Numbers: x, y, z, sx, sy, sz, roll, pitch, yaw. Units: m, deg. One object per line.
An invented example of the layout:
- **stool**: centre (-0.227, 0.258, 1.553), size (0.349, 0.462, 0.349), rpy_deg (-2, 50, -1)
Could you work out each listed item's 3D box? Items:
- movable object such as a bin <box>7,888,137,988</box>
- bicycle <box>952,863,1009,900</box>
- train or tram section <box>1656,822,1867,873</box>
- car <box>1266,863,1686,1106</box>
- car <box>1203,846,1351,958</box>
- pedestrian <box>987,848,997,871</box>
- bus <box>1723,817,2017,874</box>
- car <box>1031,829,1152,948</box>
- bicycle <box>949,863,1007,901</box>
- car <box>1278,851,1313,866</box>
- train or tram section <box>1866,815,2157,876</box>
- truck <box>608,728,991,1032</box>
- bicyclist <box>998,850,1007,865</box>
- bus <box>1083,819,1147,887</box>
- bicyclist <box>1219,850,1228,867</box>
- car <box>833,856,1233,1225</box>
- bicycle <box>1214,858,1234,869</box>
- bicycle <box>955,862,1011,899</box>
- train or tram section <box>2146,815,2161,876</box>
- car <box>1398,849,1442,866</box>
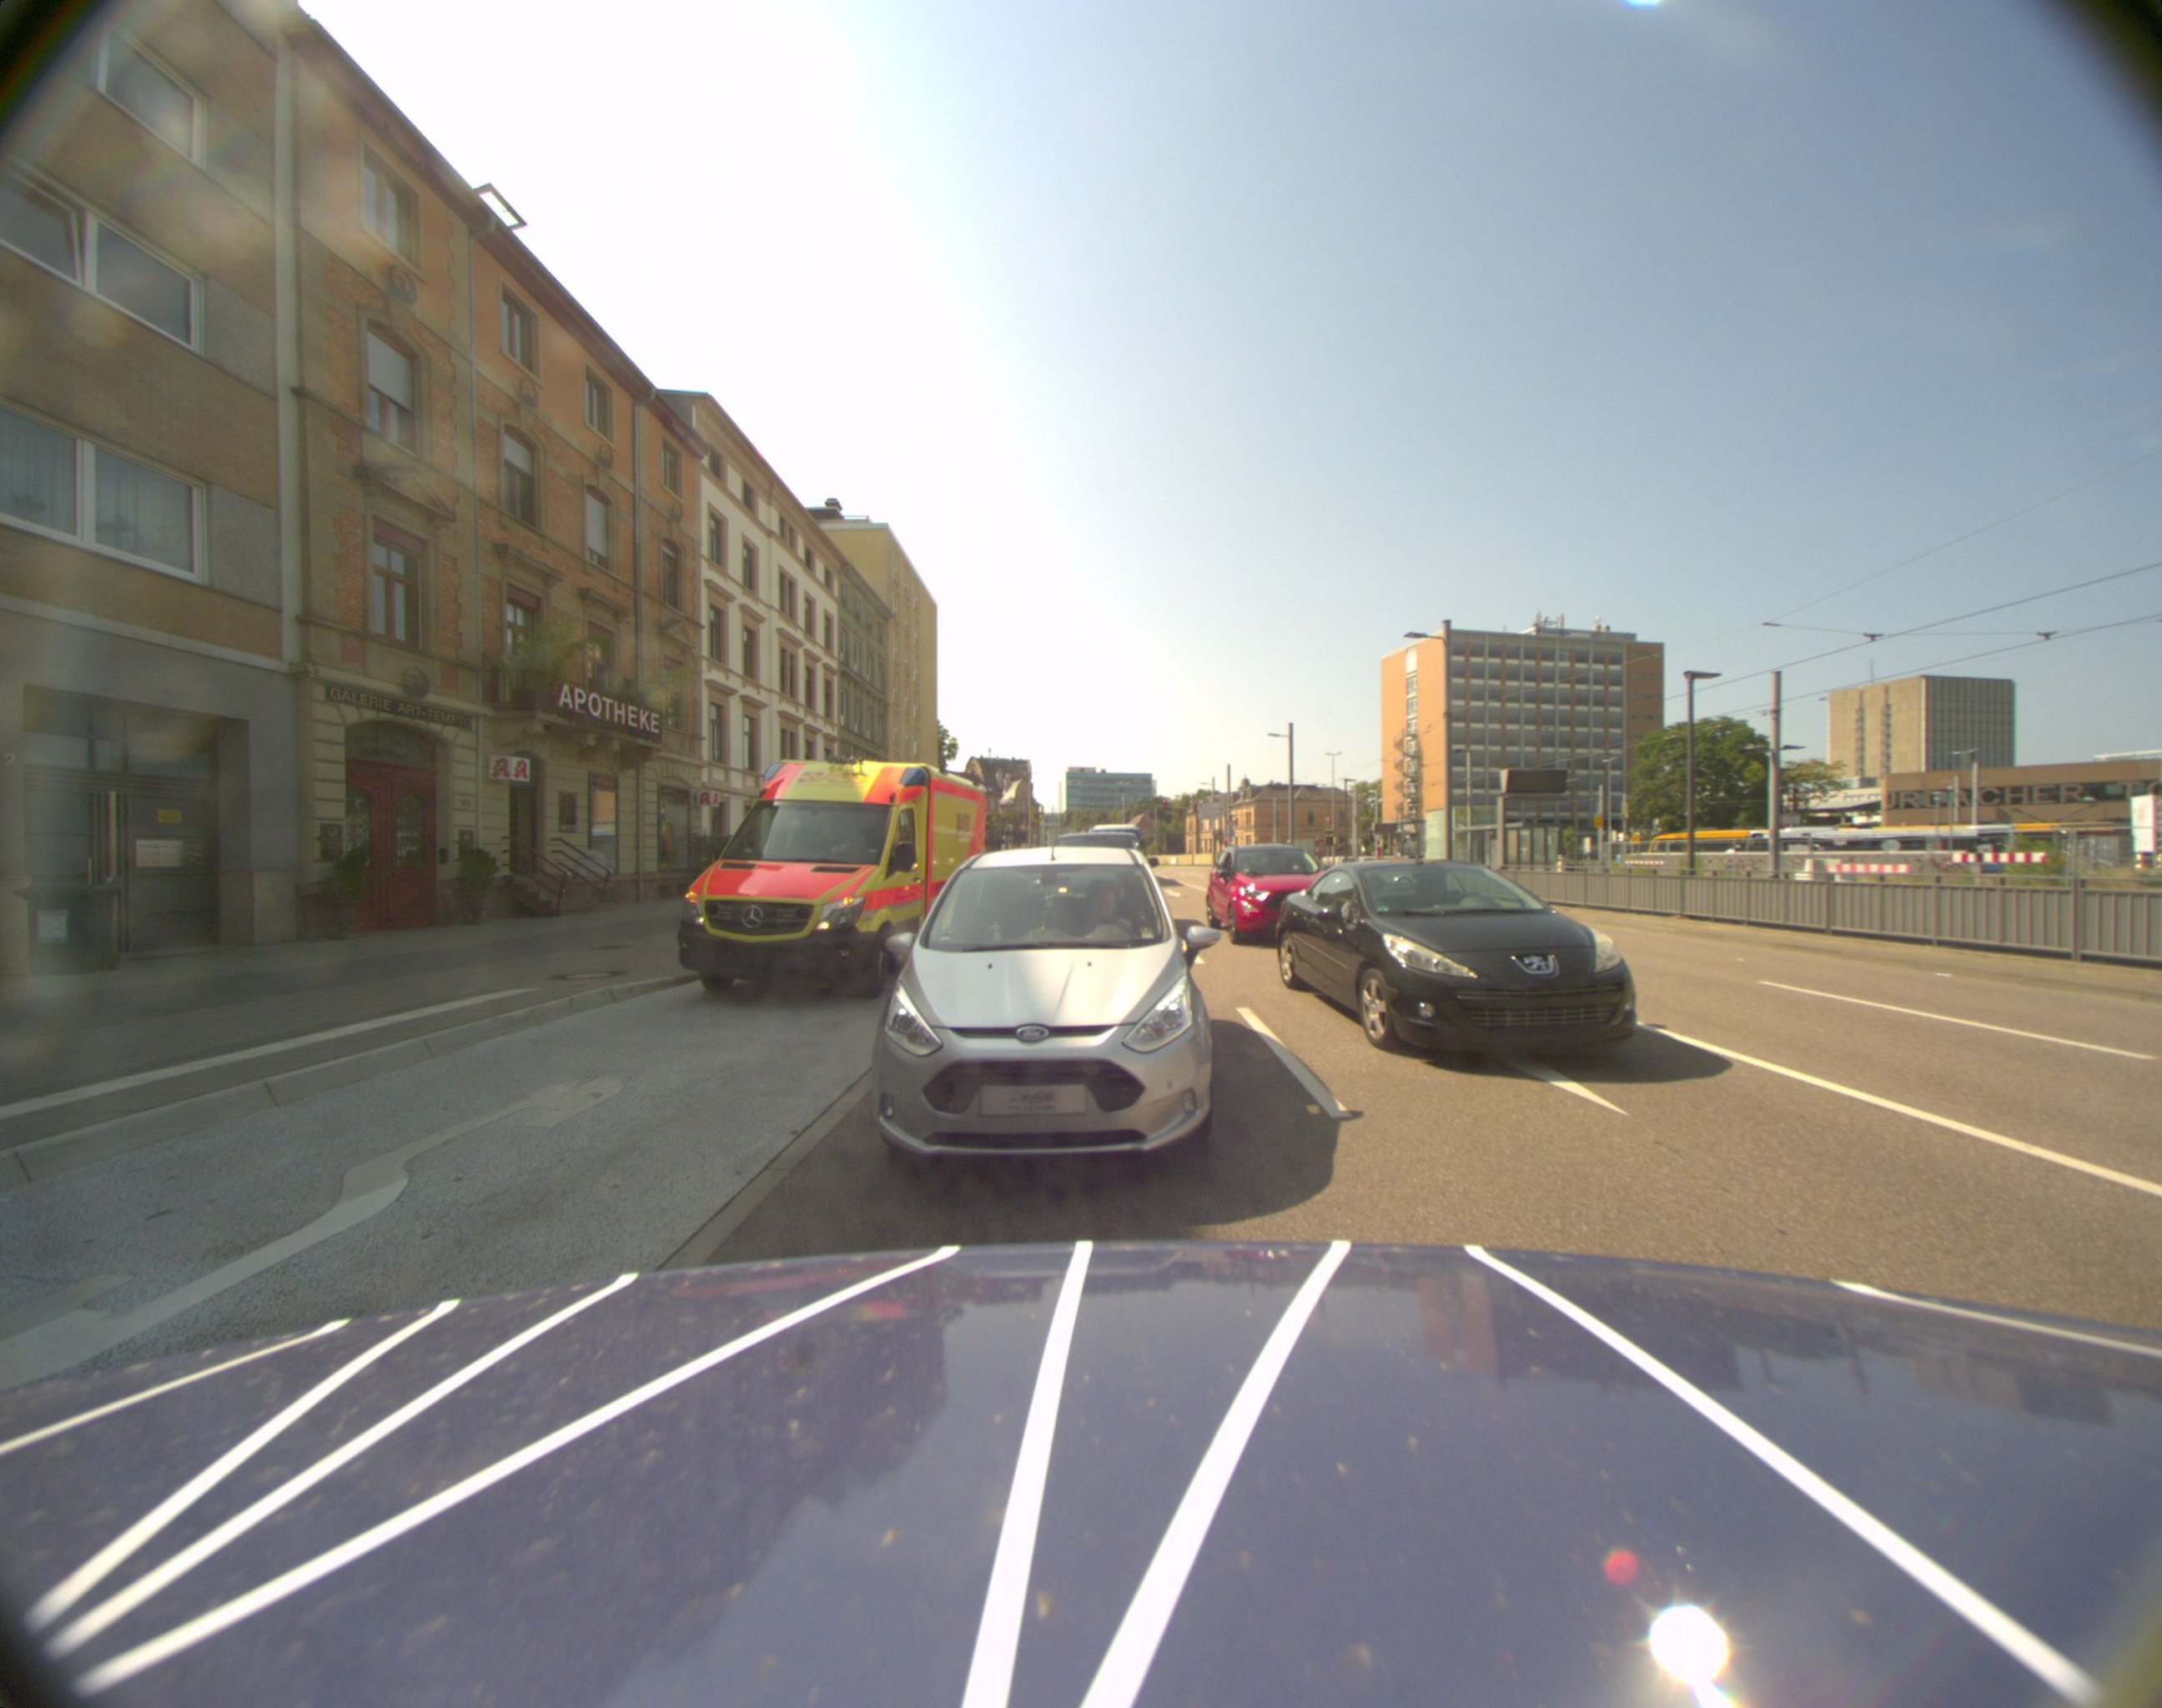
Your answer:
- **movable object such as a bin**: centre (-11.965, 0.965, 9.040), size (0.648, 1.098, 0.727), rpy_deg (1, 0, -24)
- **bicycle**: centre (-3.392, 0.935, 25.774), size (1.841, 1.196, 0.434), rpy_deg (-2, 1, 1)
- **train or tram section**: centre (53.572, -0.466, 60.395), size (2.004, 3.743, 12.331), rpy_deg (-1, 0, -45)
- **car**: centre (2.915, 0.834, 6.623), size (1.692, 1.405, 3.801), rpy_deg (-2, 0, 1)
- **car**: centre (3.196, 0.697, 13.164), size (1.634, 1.611, 3.968), rpy_deg (-2, 0, 2)
- **pedestrian**: centre (-6.323, 0.375, 53.919), size (0.645, 1.619, 0.796), rpy_deg (1, 1, 0)
- **bus**: centre (52.359, -0.434, 51.333), size (3.357, 3.275, 13.371), rpy_deg (-3, 0, -45)
- **car**: centre (0.227, 0.575, 15.232), size (1.998, 1.953, 4.816), rpy_deg (-1, 0, 1)
- **bicycle**: centre (-3.419, 0.921, 25.338), size (1.841, 1.196, 0.434), rpy_deg (-2, 1, 1)
- **car**: centre (25.021, 0.490, 88.715), size (3.874, 1.575, 1.690), rpy_deg (-2, 0, 15)
- **train or tram section**: centre (62.281, -0.506, 51.653), size (2.004, 3.743, 12.331), rpy_deg (-1, 0, -45)
- **truck**: centre (-3.028, 0.209, 10.233), size (2.333, 2.754, 6.340), rpy_deg (2, 1, 4)
- **bicyclist**: centre (-8.264, 0.396, 80.023), size (0.721, 1.577, 1.103), rpy_deg (-1, 0, 2)
- **bus**: centre (2.037, -0.063, 42.122), size (2.919, 3.119, 12.347), rpy_deg (-2, 0, 4)
- **bicyclist**: centre (16.327, 0.475, 86.887), size (0.857, 1.891, 0.664), rpy_deg (-2, 1, 21)
- **car**: centre (-0.162, 0.834, 5.348), size (1.728, 1.579, 4.000), rpy_deg (-1, 0, 1)
- **bicycle**: centre (16.353, 1.088, 86.890), size (2.182, 1.095, 0.664), rpy_deg (-2, 1, 21)
- **bicycle**: centre (-3.378, 0.922, 26.235), size (1.841, 1.212, 0.434), rpy_deg (-2, 1, 1)
- **train or tram section**: centre (70.962, -0.542, 42.935), size (2.004, 3.743, 12.331), rpy_deg (-1, 0, -45)
- **car**: centre (37.948, 0.409, 85.188), size (4.278, 1.722, 1.885), rpy_deg (-2, 0, 16)
